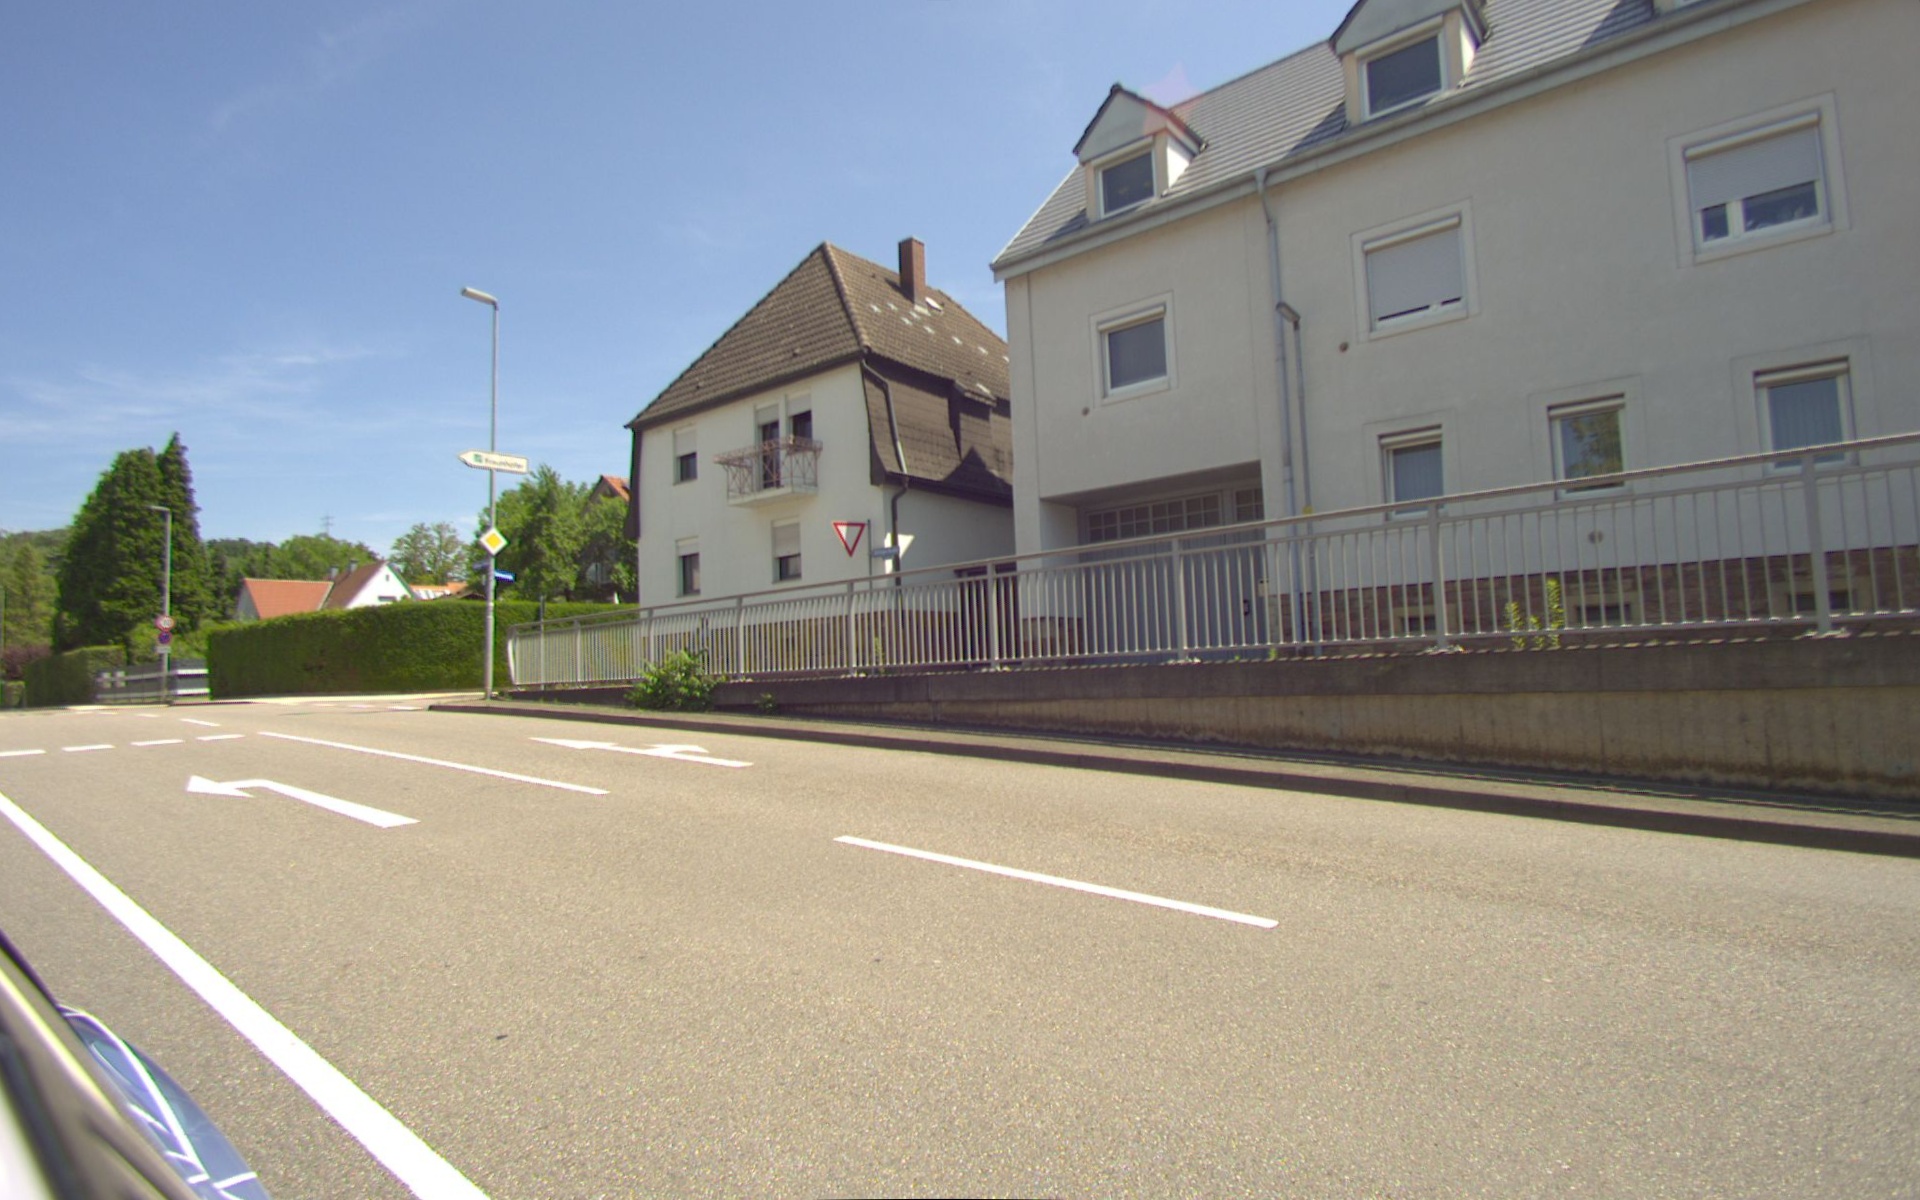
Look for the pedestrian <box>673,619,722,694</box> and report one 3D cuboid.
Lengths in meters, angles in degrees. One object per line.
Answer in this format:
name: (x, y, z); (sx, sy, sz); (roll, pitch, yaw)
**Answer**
pedestrian: (-6.196, 1.321, 23.899); (0.855, 1.742, 0.720); (-2, -2, 38)
